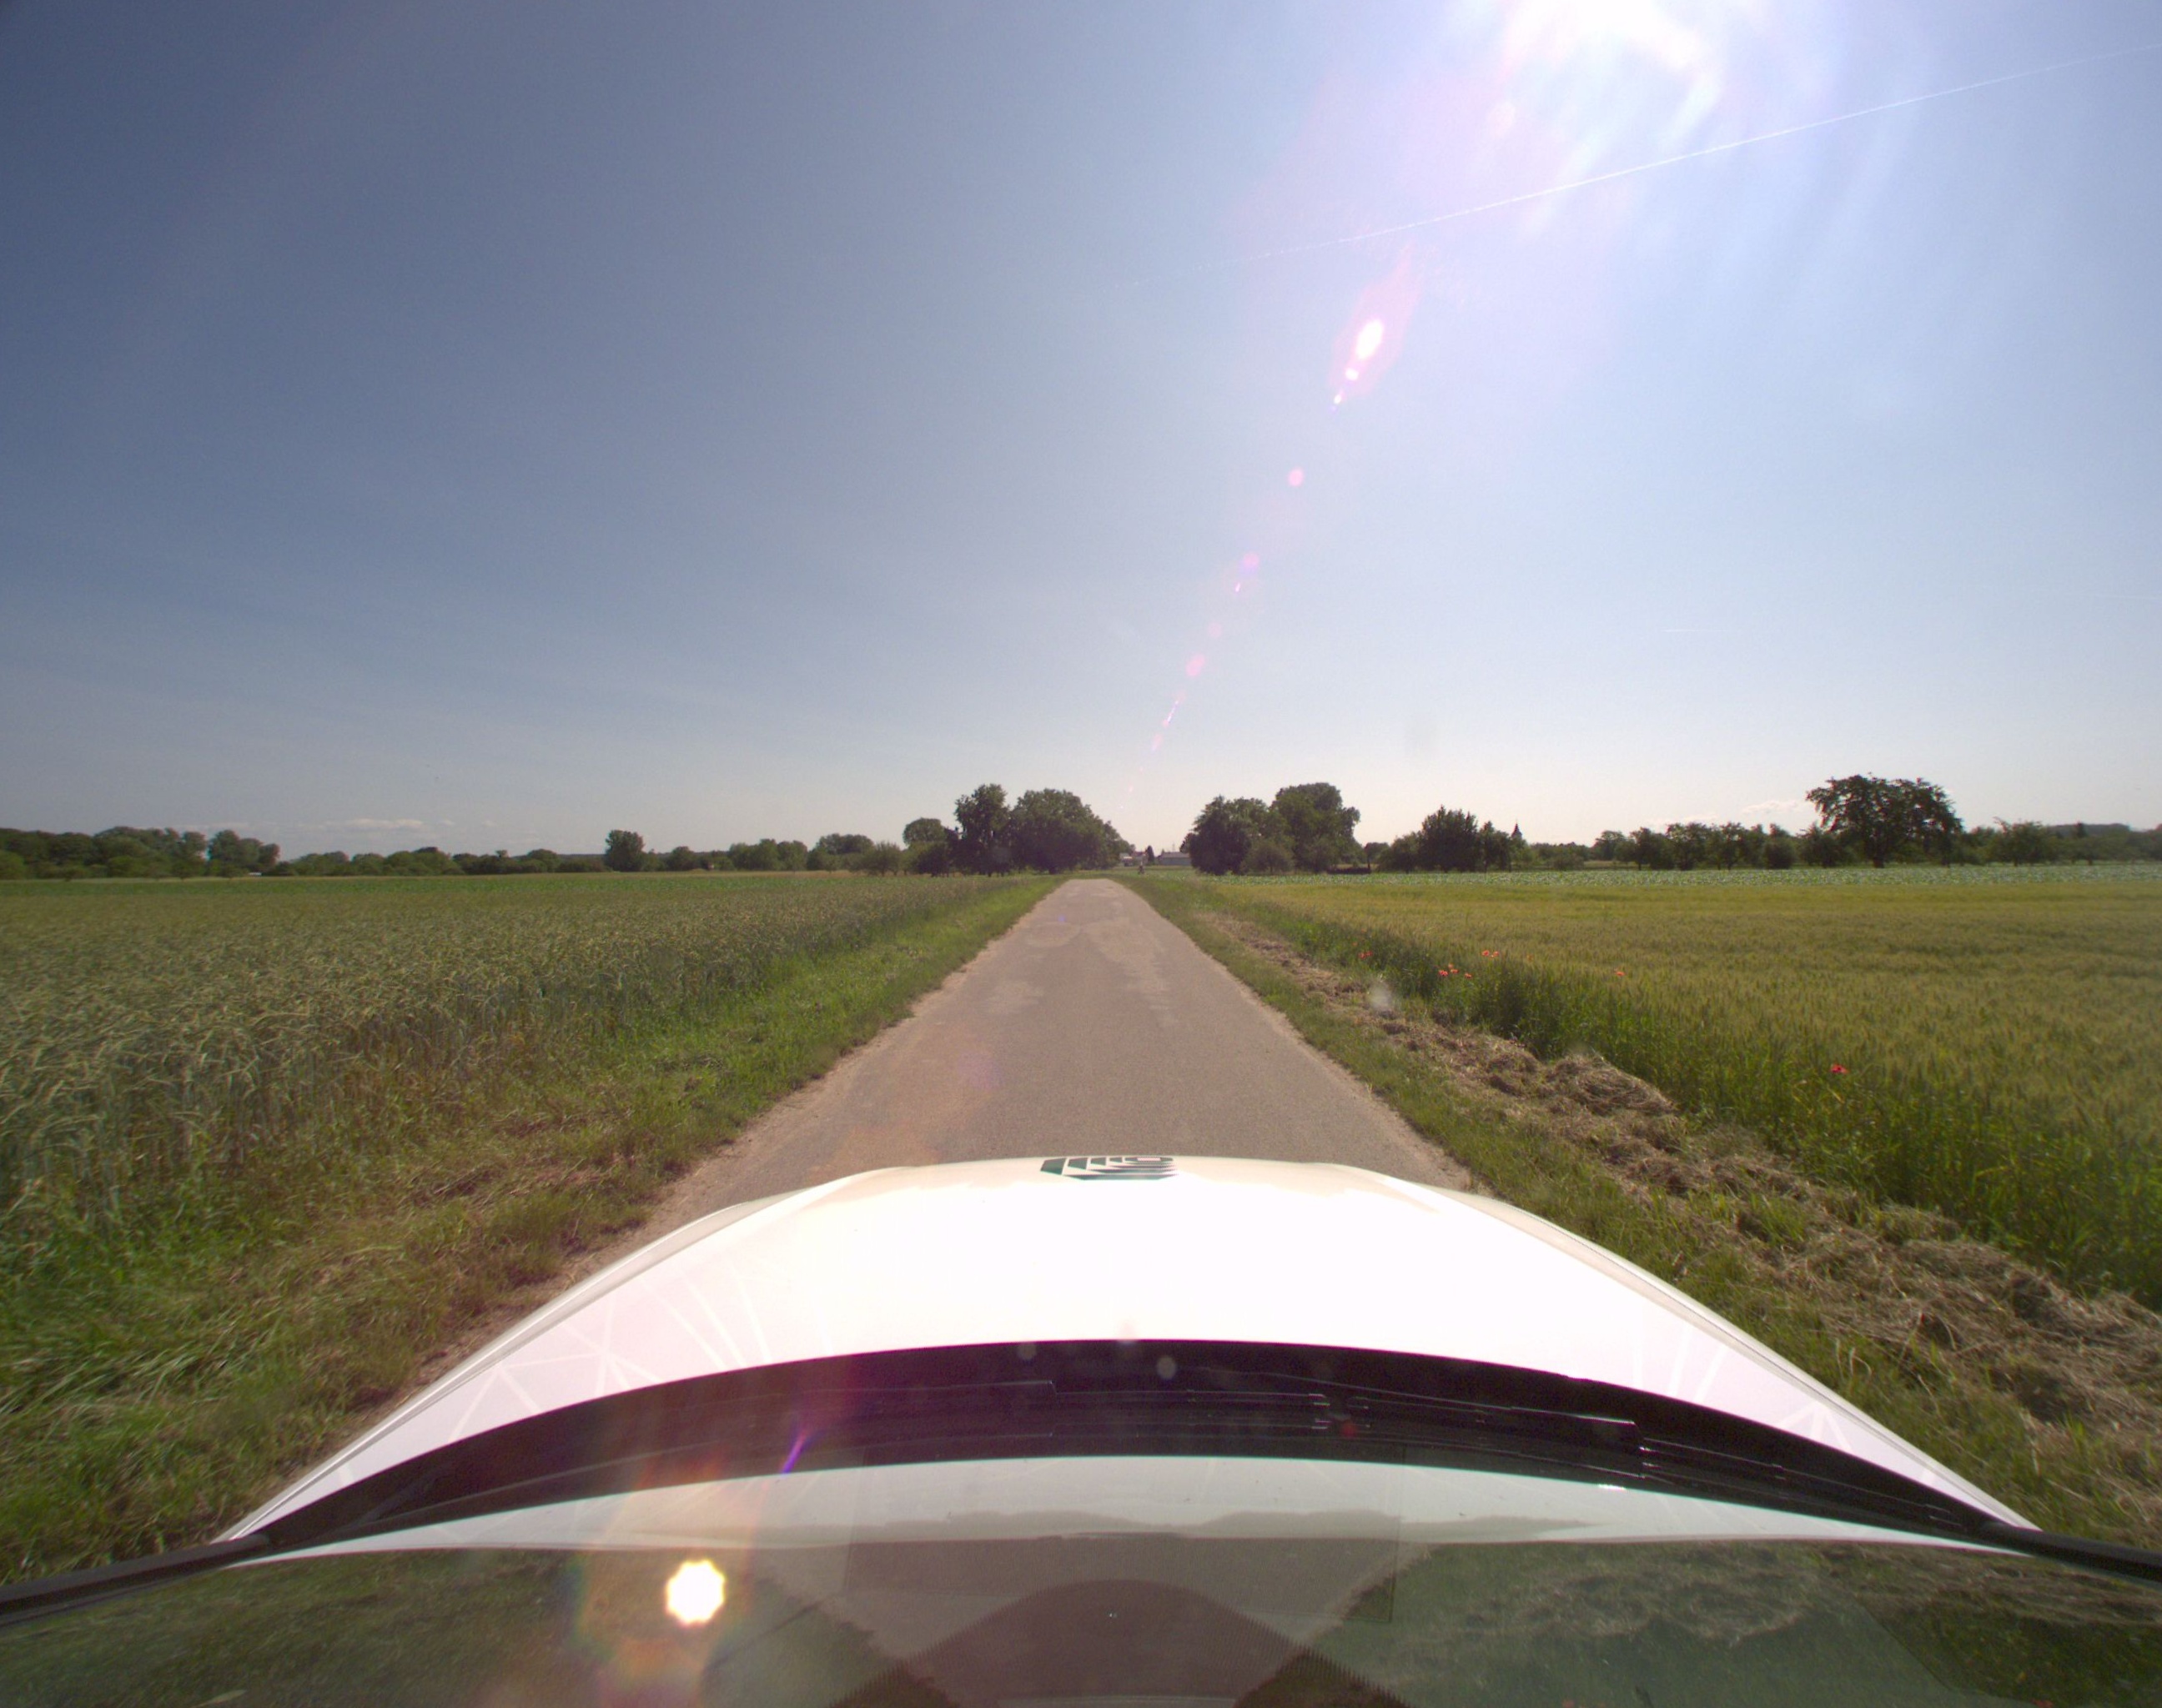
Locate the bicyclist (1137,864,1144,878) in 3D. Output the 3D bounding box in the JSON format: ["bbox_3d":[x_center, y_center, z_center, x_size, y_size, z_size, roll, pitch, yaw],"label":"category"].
[{"bbox_3d":[7.642,2.192,104.656,0.745,1.791,0.719,-3,-2,15],"label":"bicyclist"}]

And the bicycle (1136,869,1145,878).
[{"bbox_3d":[7.650,2.517,104.644,0.745,1.127,1.916,-3,-1,15],"label":"bicycle"}]
